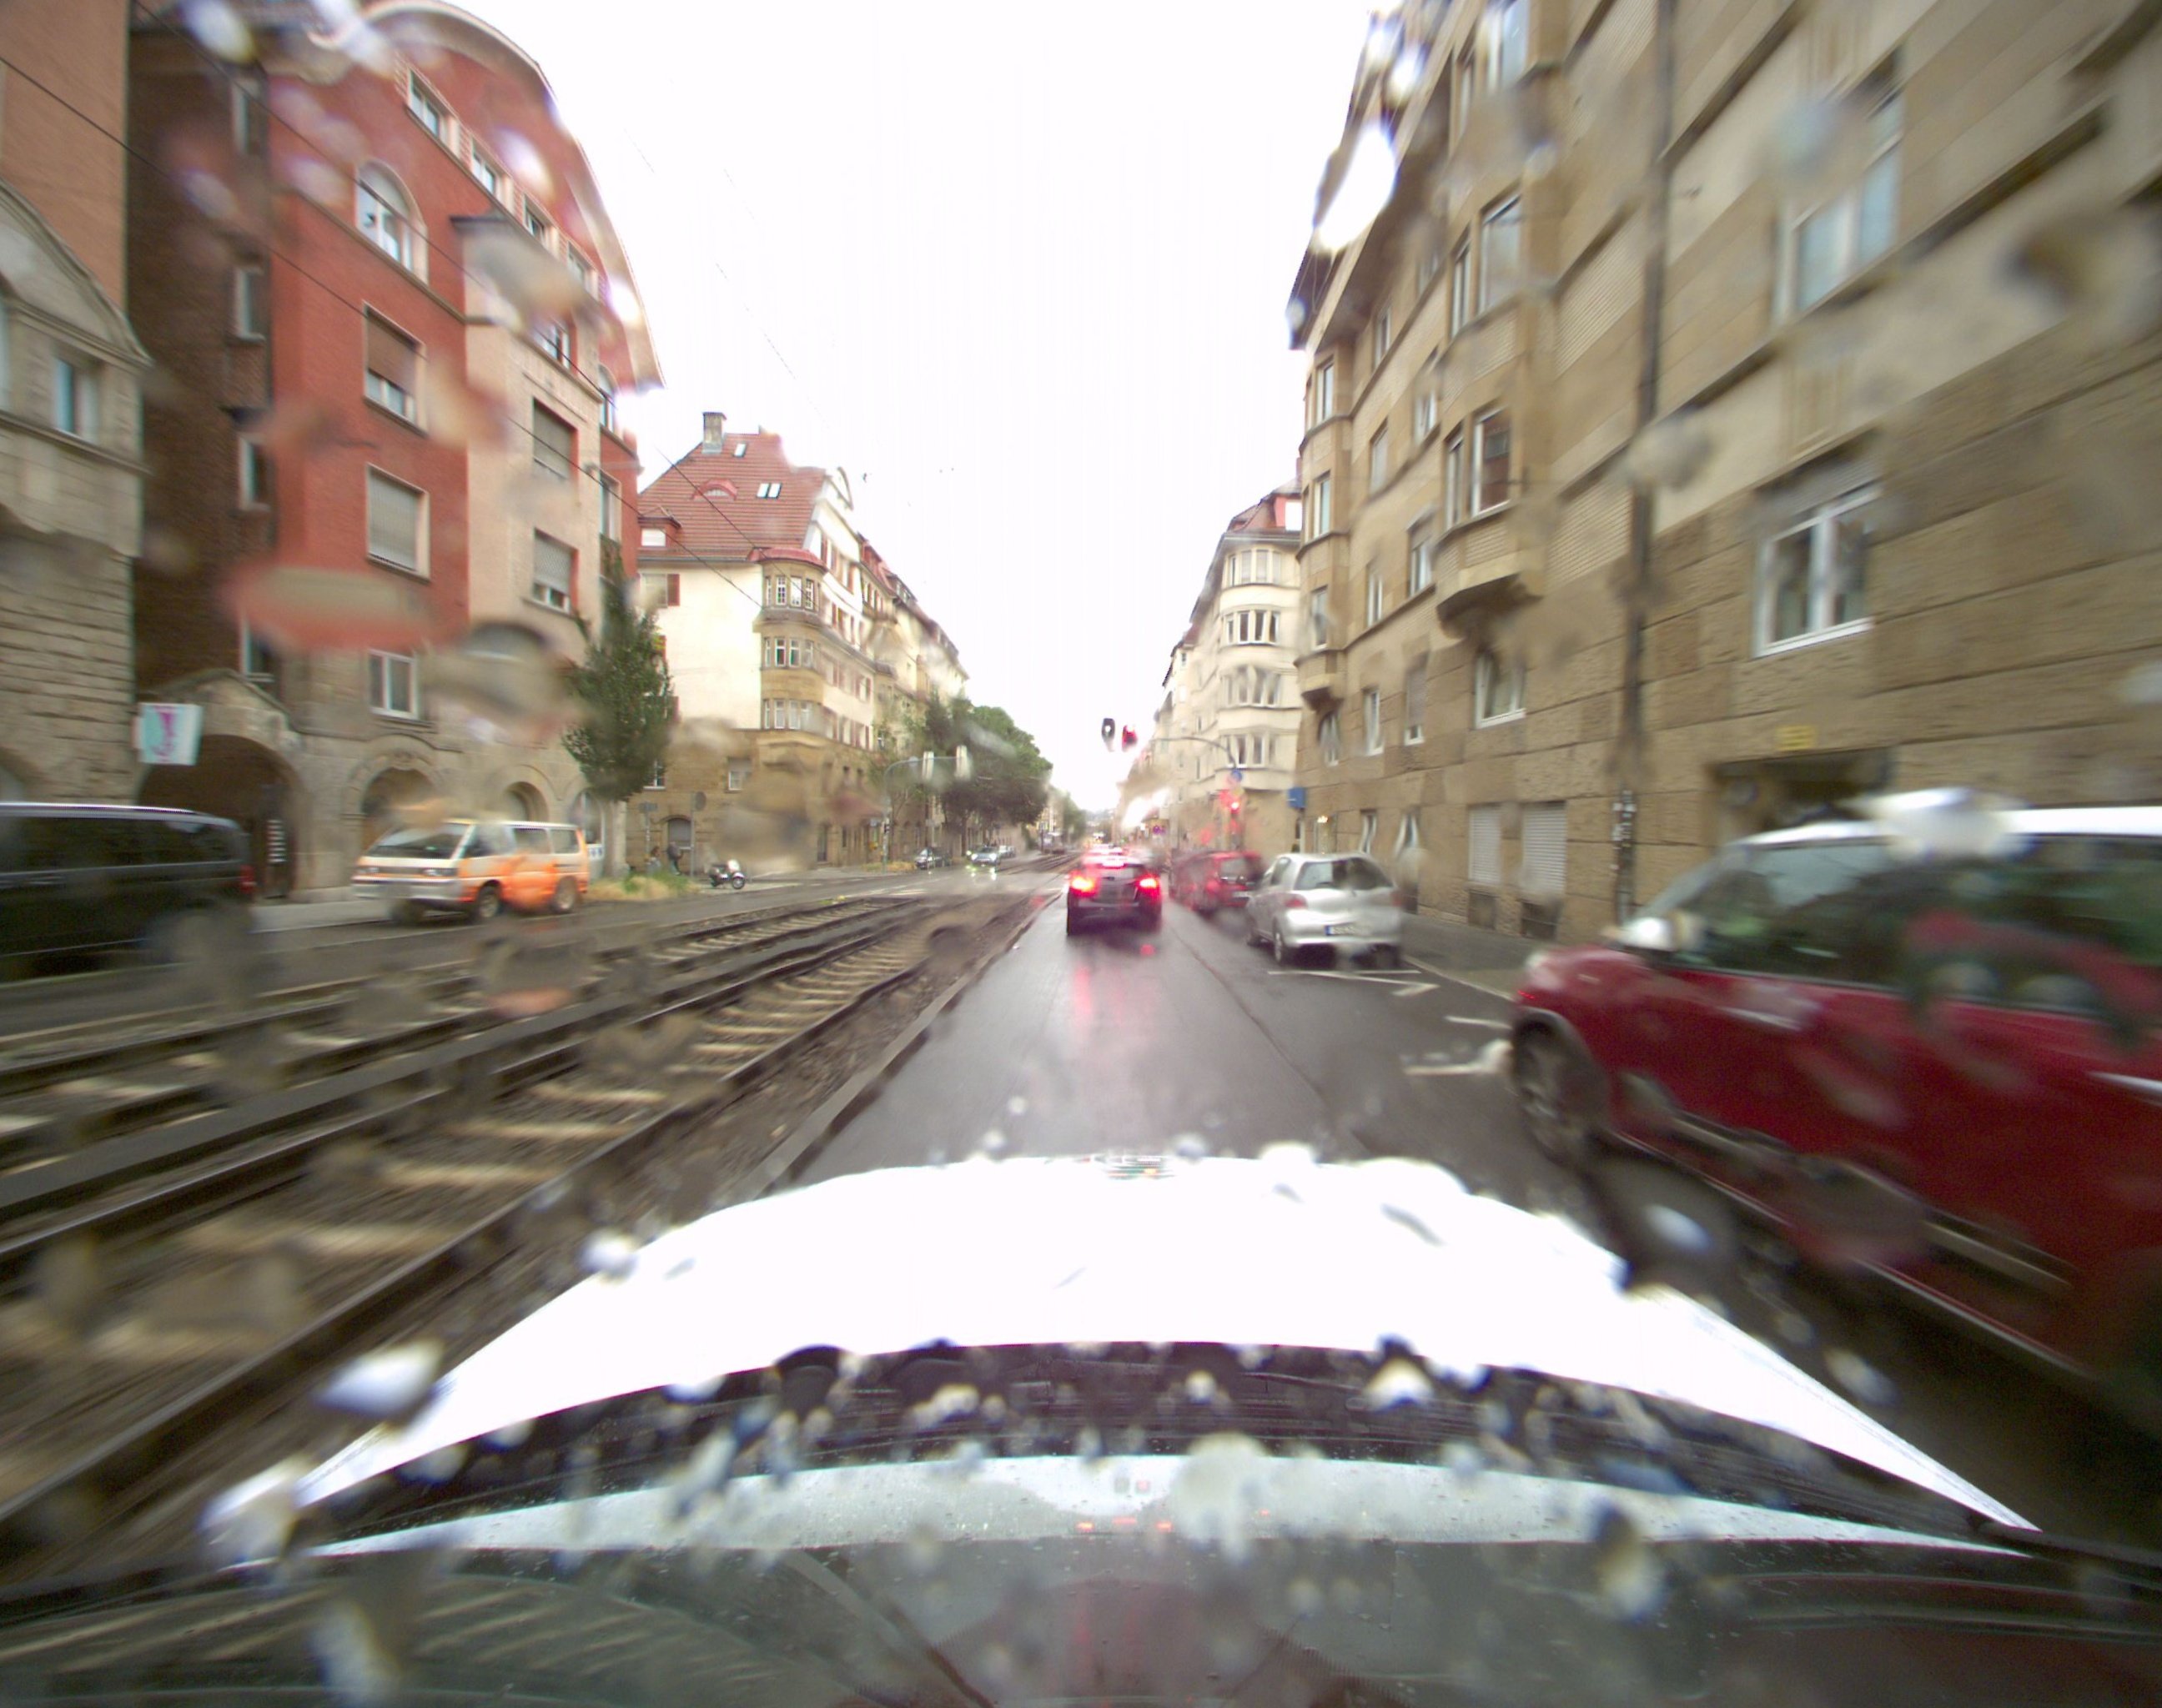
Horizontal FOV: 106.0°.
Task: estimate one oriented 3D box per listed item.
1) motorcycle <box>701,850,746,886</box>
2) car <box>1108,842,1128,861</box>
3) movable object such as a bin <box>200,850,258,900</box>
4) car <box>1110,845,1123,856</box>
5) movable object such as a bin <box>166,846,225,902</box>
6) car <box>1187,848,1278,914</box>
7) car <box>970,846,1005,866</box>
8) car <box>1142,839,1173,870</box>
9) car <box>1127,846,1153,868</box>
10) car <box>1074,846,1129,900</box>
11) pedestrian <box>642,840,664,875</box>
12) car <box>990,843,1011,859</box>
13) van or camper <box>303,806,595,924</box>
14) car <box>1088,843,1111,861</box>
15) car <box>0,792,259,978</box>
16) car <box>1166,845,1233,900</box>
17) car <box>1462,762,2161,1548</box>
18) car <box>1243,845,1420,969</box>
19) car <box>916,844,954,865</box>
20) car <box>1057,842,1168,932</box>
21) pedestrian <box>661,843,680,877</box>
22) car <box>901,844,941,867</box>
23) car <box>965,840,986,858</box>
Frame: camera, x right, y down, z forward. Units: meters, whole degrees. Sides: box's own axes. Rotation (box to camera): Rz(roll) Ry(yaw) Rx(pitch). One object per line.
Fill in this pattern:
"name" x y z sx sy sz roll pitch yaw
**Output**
"motorcycle" -11.712 0.450 26.696 1.423 1.134 0.624 1 0 31
"car" 3.604 -0.243 79.889 1.846 1.797 3.813 0 -1 2
"movable object such as a bin" -16.841 0.408 16.105 0.572 0.955 0.520 1 0 1
"car" 5.412 -0.568 124.384 1.902 1.706 4.002 1 0 2
"movable object such as a bin" -17.438 0.388 16.049 0.572 1.060 0.520 1 0 1
"car" 3.513 0.584 19.394 1.597 1.419 3.148 1 0 0
"car" -7.452 0.146 65.422 1.785 1.548 4.009 -2 0 8
"car" 5.224 0.066 56.030 1.891 2.028 4.178 0 -1 2
"car" 4.928 0.253 68.299 1.764 1.776 3.996 0 -1 -2
"car" 0.653 0.532 25.079 1.530 1.510 4.002 1 0 2
"pedestrian" -21.693 0.183 41.304 0.605 1.733 0.865 1 0 2
"car" -9.684 -0.362 98.480 1.986 1.794 4.002 1 0 2
"van or camper" -11.944 0.179 15.944 1.987 1.901 4.698 2 0 0
"car" 1.675 -0.214 76.302 1.917 1.655 3.997 1 1 -2
"car" -12.043 0.315 8.526 1.986 1.901 4.702 0 0 2
"car" 3.527 0.509 24.745 1.543 1.508 4.002 1 0 2
"car" 3.092 0.630 2.742 1.705 1.628 3.999 1 0 -1
"car" 3.516 0.658 12.053 1.631 1.543 3.467 1 0 2
"car" -10.769 0.031 60.280 1.986 1.517 4.002 1 0 2
"car" 0.563 0.593 16.102 1.939 1.564 3.642 0 0 0
"pedestrian" -21.382 0.308 42.442 0.605 1.733 0.643 1 0 2
"car" -10.766 0.106 54.954 1.765 1.464 4.002 0 0 2
"car" -10.450 -0.473 80.966 1.786 1.691 3.994 1 0 -4
